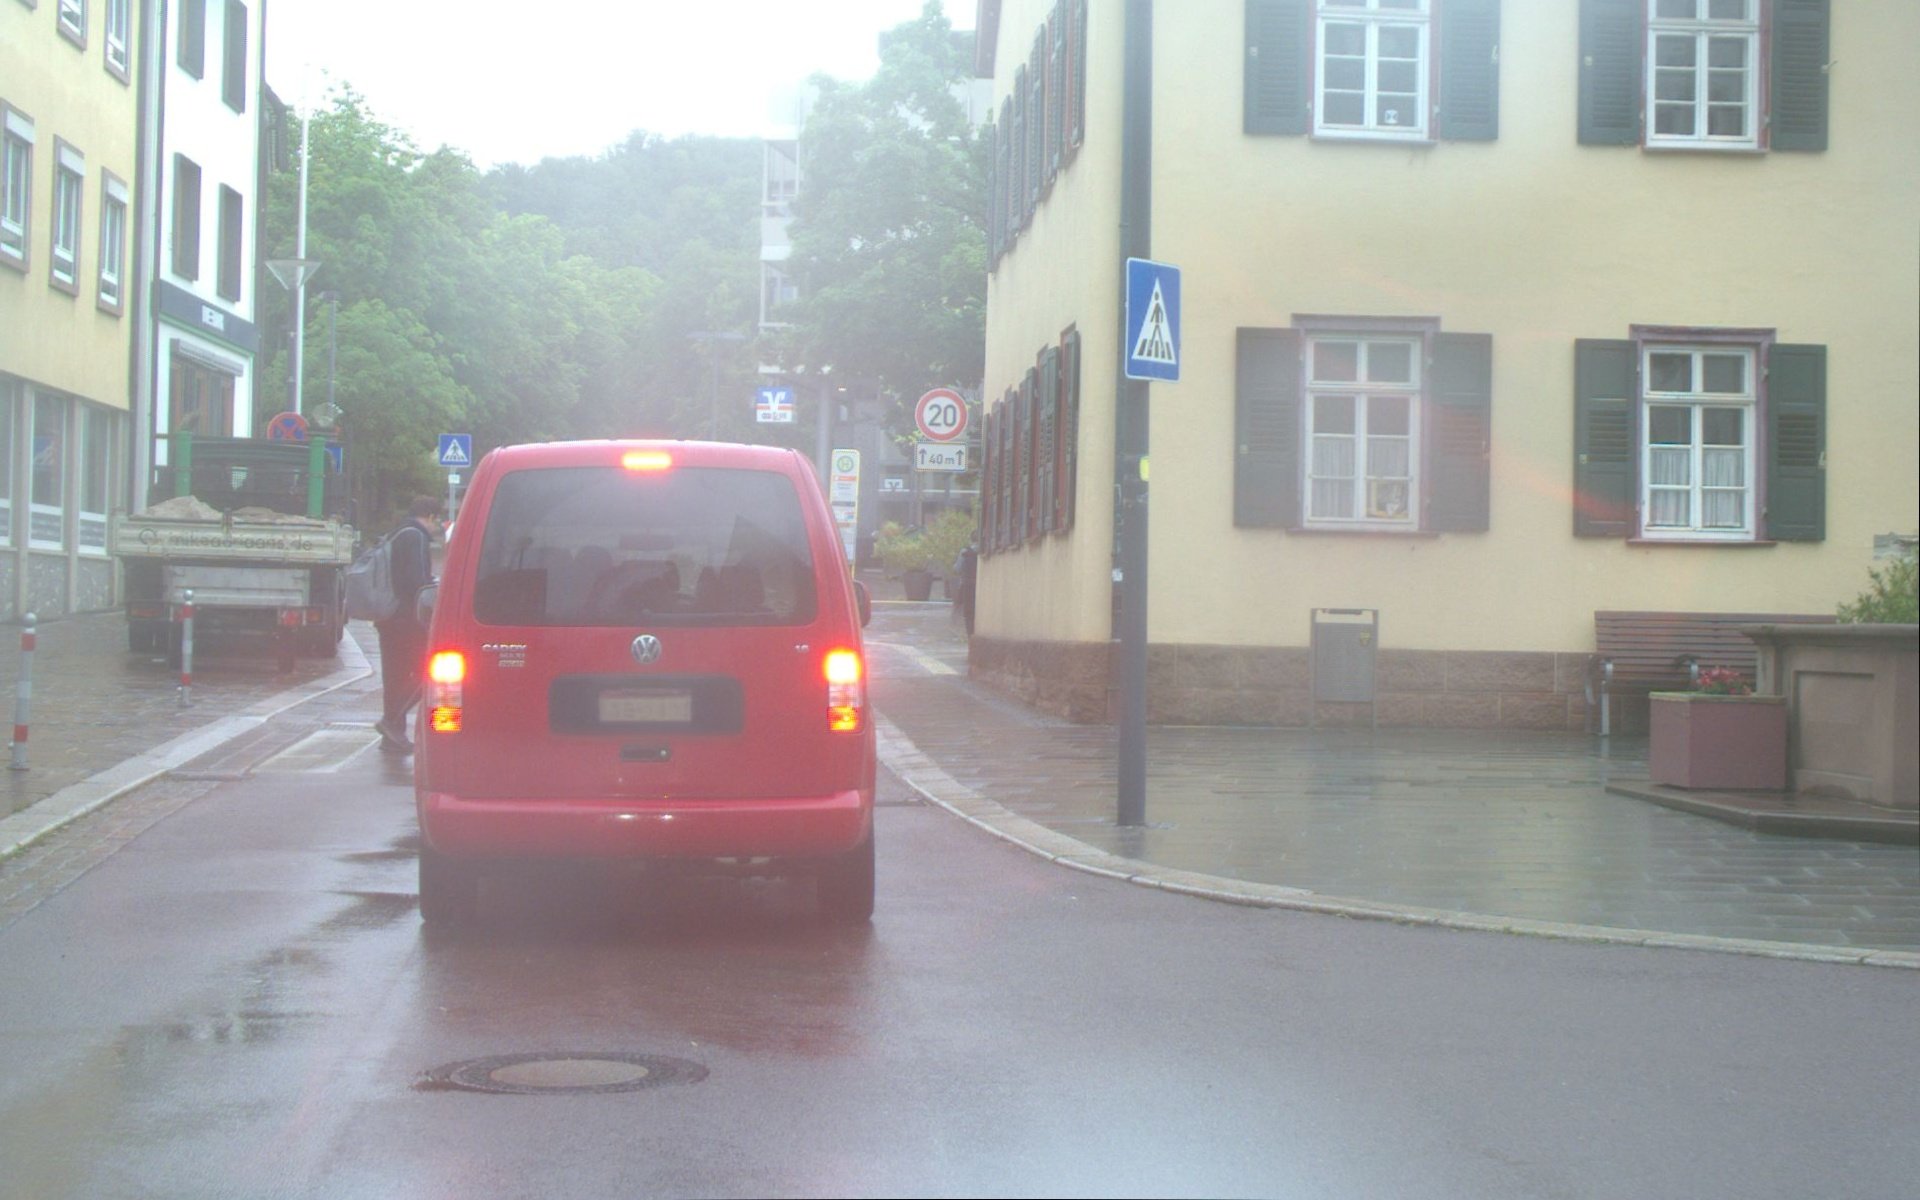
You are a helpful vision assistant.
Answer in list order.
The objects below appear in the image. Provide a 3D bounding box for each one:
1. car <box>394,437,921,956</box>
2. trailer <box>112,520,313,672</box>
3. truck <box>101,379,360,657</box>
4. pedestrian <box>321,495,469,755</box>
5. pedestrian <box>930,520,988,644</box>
[{"bbox_3d":[-1.357,0.307,14.279,1.861,1.824,4.186,0,1,-8],"label":"car"},{"bbox_3d":[-7.187,-0.073,33.271,1.727,1.342,3.162,1,2,-9],"label":"trailer"},{"bbox_3d":[-7.949,-0.941,38.068,2.473,2.785,6.602,1,2,-9],"label":"truck"},{"bbox_3d":[-3.751,0.156,22.873,0.865,1.687,0.716,1,1,-3],"label":"pedestrian"},{"bbox_3d":[-0.021,-0.236,45.257,0.728,1.611,0.694,1,0,-2],"label":"pedestrian"}]
